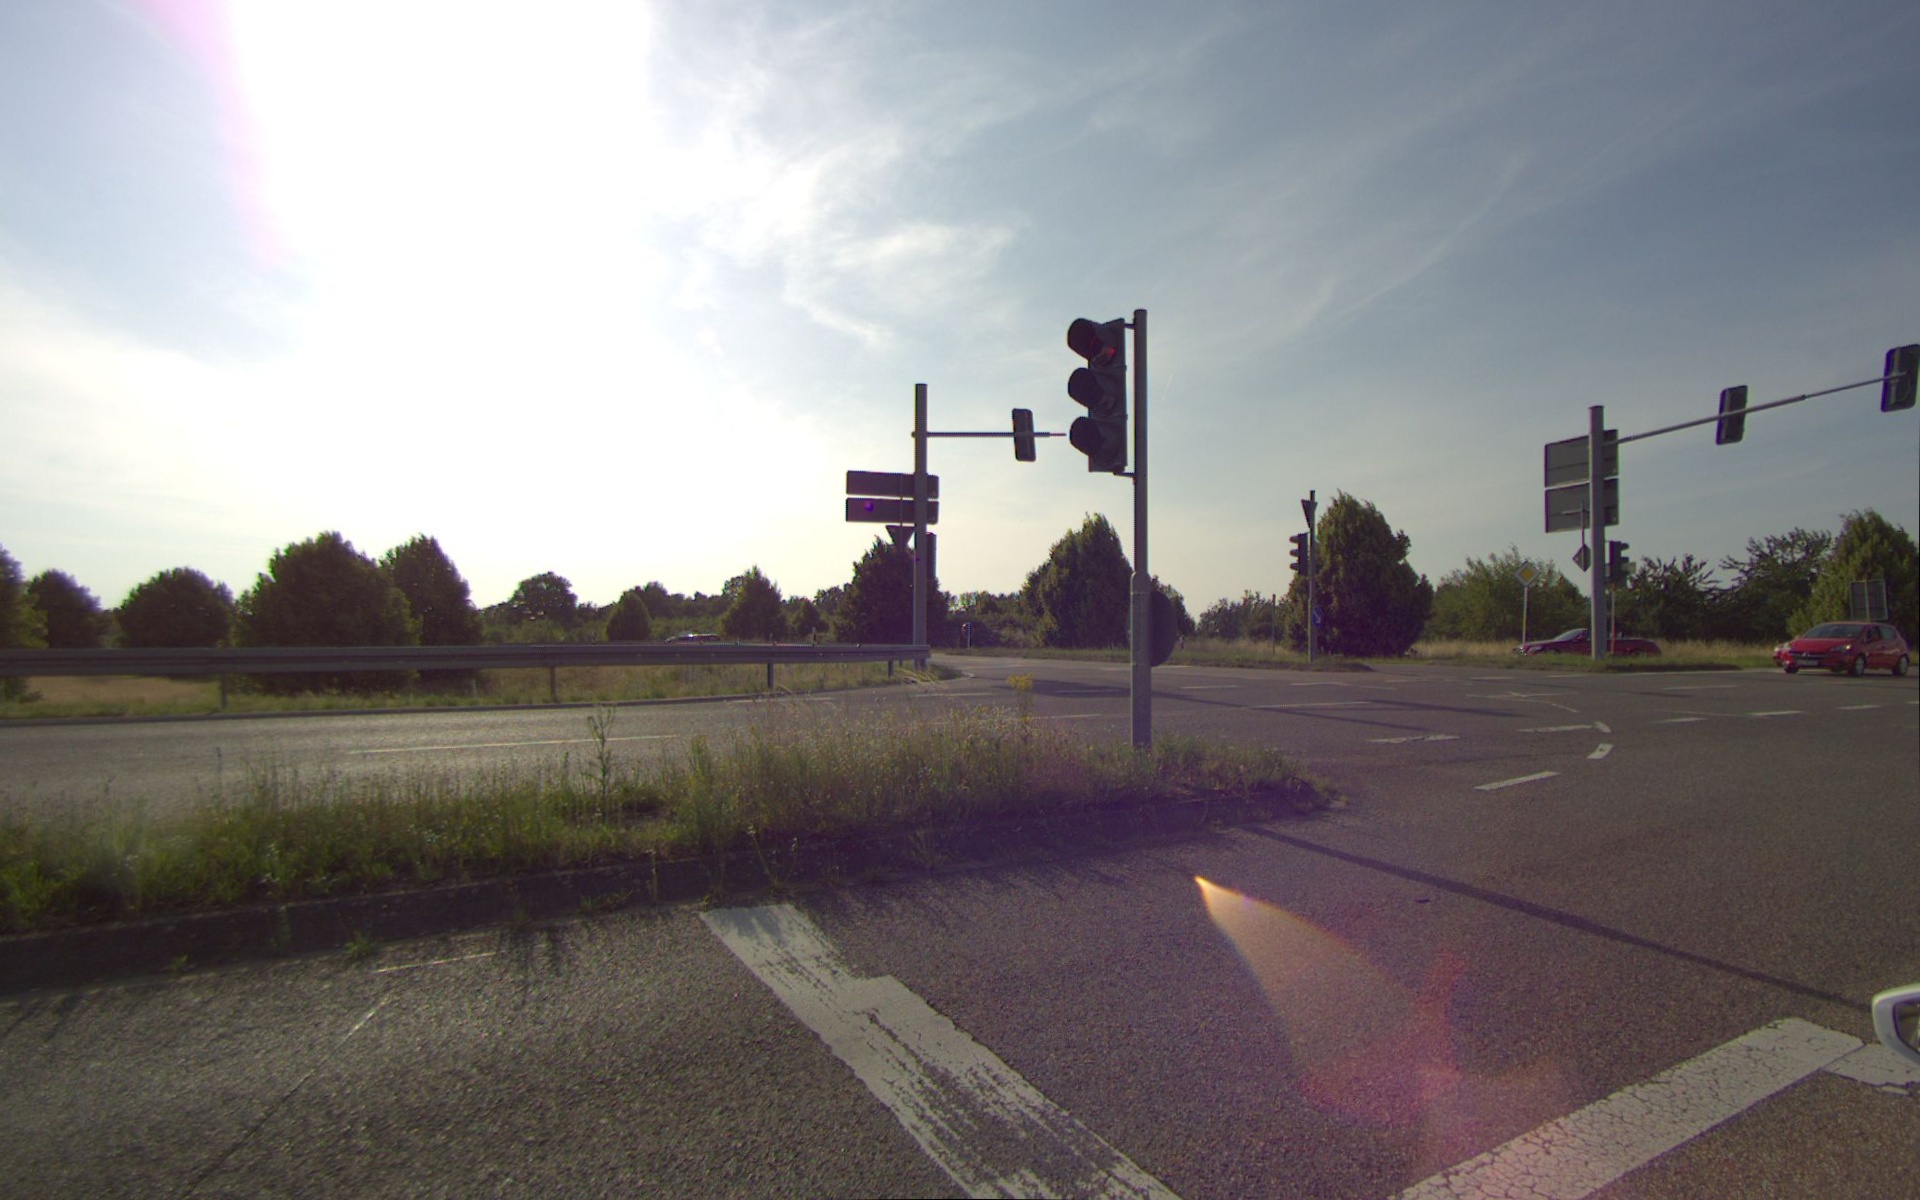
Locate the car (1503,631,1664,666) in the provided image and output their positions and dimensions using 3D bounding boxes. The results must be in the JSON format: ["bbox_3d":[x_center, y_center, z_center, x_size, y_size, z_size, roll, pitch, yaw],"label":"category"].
[{"bbox_3d":[21.801,1.695,35.268,4.387,1.116,2.001,1,-1,3],"label":"car"}]

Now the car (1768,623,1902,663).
[{"bbox_3d":[31.128,1.539,35.757,4.144,1.344,1.659,1,-1,-17],"label":"car"}]

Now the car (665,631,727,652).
[{"bbox_3d":[-17.196,2.672,65.372,4.598,1.299,1.717,-1,-2,43],"label":"car"}]

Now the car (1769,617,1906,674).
[{"bbox_3d":[24.715,1.268,28.279,3.756,1.507,1.714,1,-1,-28],"label":"car"}]
